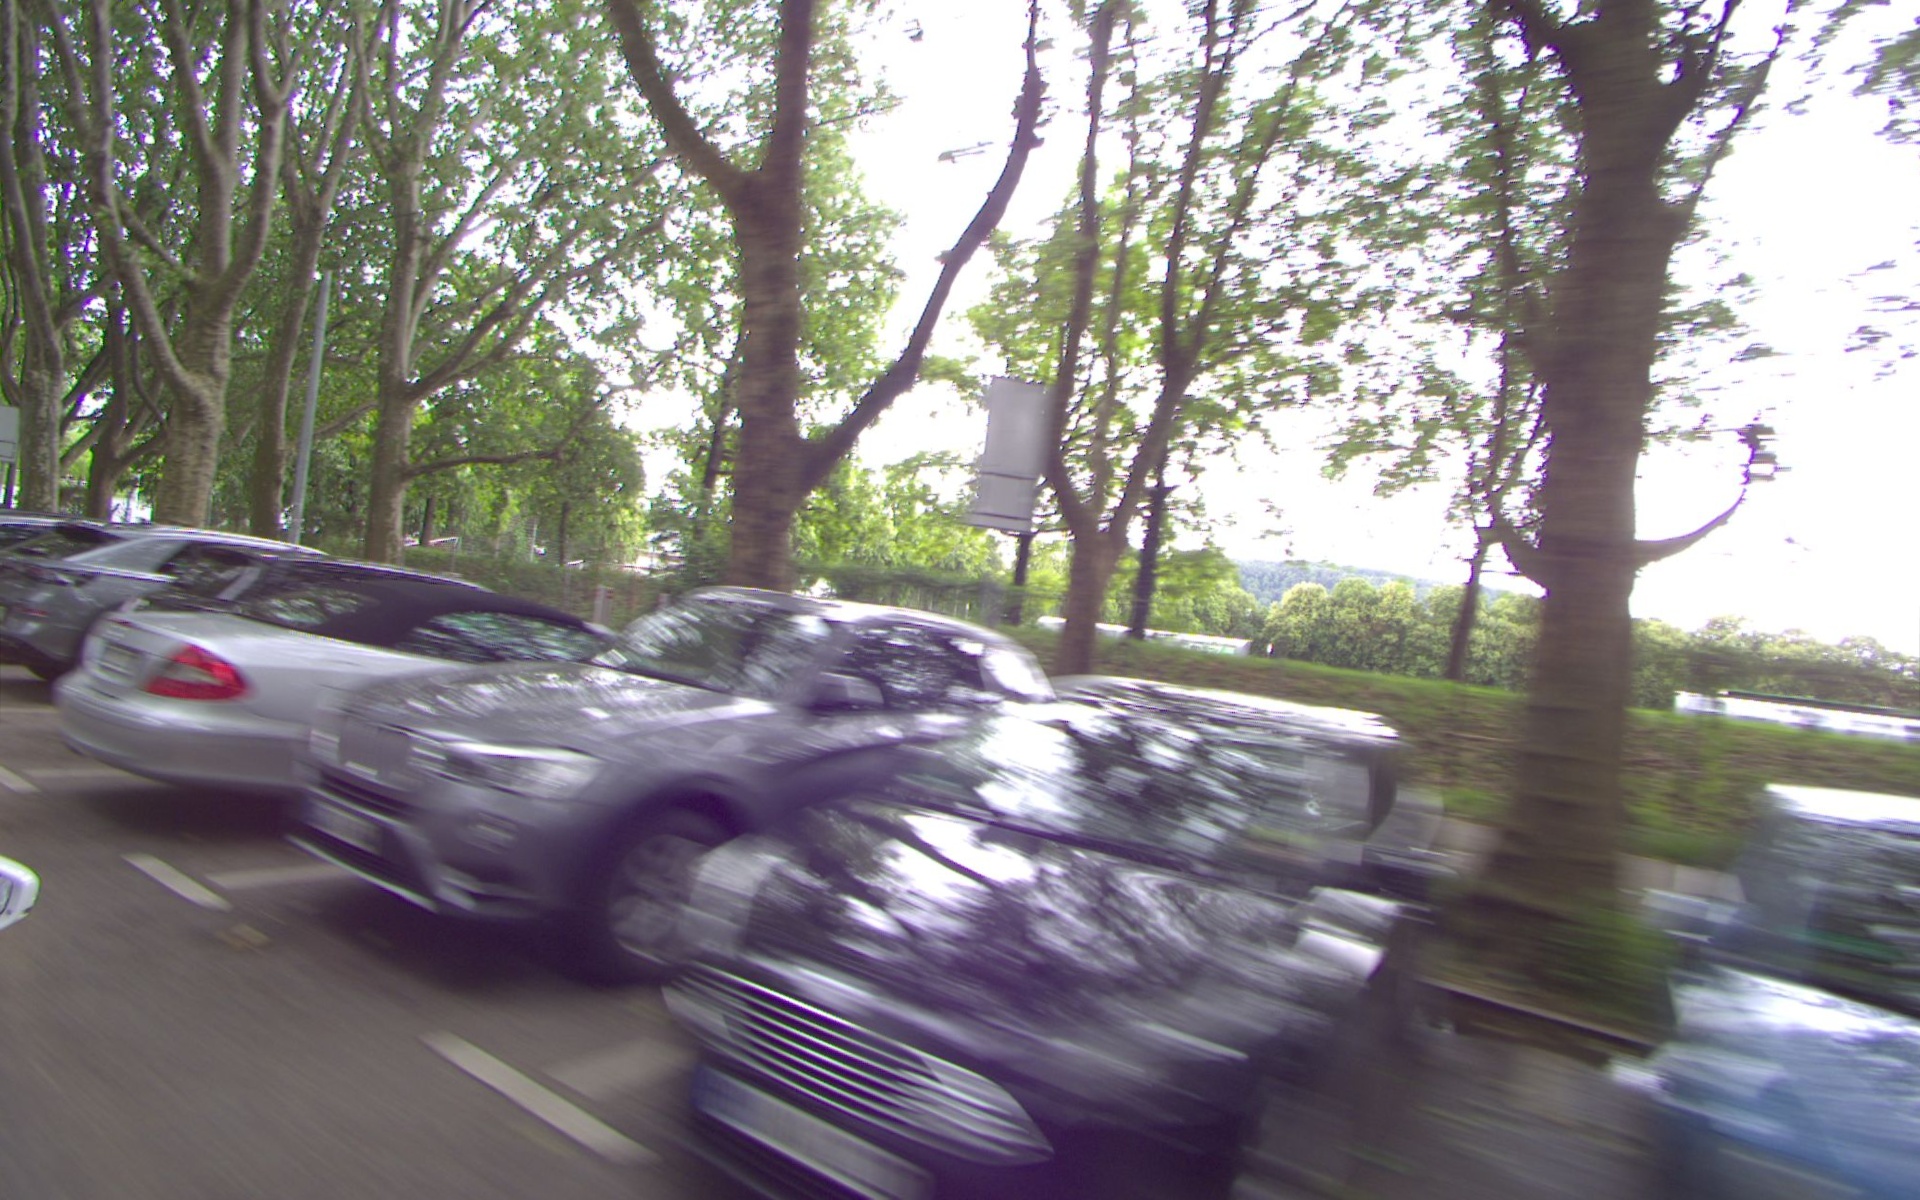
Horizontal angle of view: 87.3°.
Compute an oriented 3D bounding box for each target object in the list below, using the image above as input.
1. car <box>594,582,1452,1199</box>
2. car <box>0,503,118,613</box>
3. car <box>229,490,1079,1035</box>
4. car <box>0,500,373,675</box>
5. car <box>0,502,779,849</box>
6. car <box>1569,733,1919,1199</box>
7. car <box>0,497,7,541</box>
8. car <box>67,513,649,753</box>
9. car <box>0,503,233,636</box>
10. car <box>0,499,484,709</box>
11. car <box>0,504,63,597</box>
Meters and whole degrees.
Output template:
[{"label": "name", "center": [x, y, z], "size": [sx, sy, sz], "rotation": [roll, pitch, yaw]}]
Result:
[{"label": "car", "center": [0.859, 0.991, 4.068], "size": [1.583, 1.467, 4.222], "rotation": [7, -3, 31]}, {"label": "car", "center": [-15.315, -0.849, 14.636], "size": [1.596, 1.486, 4.310], "rotation": [7, -3, 29]}, {"label": "car", "center": [-1.098, 0.699, 5.405], "size": [1.667, 1.688, 4.122], "rotation": [7, -3, 33]}, {"label": "car", "center": [-9.114, -0.135, 10.924], "size": [1.597, 1.486, 4.376], "rotation": [7, -3, 31]}, {"label": "car", "center": [-3.300, 0.522, 6.680], "size": [1.666, 1.486, 4.122], "rotation": [7, -3, 32]}, {"label": "car", "center": [2.858, 1.264, 2.670], "size": [1.670, 1.472, 3.828], "rotation": [7, -3, 39]}, {"label": "car", "center": [-19.681, -1.414, 17.662], "size": [1.789, 1.615, 3.787], "rotation": [7, -3, 29]}, {"label": "car", "center": [-4.754, 0.391, 8.497], "size": [1.598, 1.486, 3.782], "rotation": [7, -3, 34]}, {"label": "car", "center": [-12.774, -0.540, 13.409], "size": [1.622, 1.486, 4.625], "rotation": [7, -3, 32]}, {"label": "car", "center": [-6.863, 0.134, 9.607], "size": [1.639, 1.486, 3.784], "rotation": [7, -3, 32]}, {"label": "car", "center": [-17.423, -1.078, 16.376], "size": [1.596, 1.486, 3.787], "rotation": [7, -3, 29]}]
